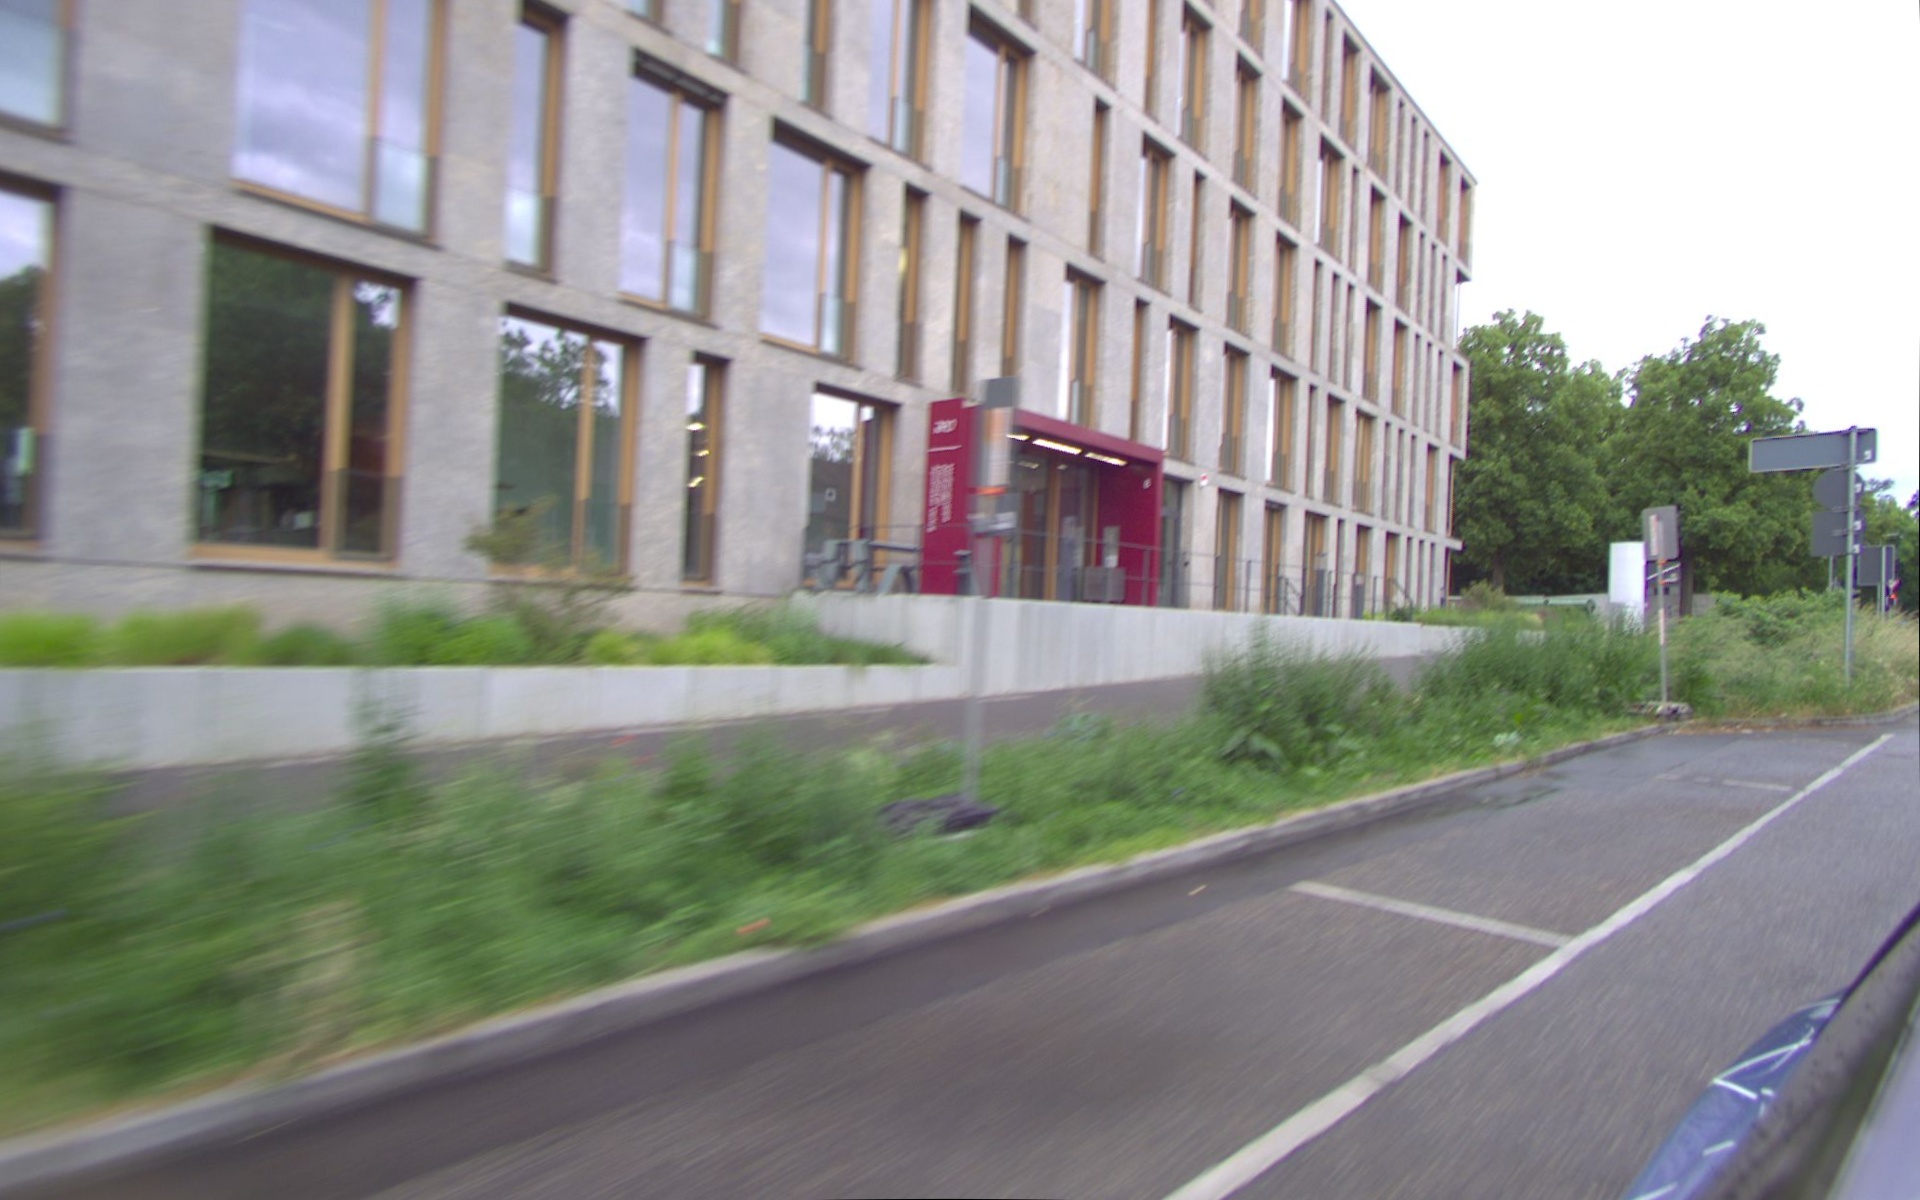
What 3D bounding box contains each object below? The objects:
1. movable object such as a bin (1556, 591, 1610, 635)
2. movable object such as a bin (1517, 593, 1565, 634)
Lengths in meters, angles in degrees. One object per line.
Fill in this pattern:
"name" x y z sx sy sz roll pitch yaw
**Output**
"movable object such as a bin" 21.930 0.448 35.636 1.091 1.477 1.249 -1 -3 -38
"movable object such as a bin" 20.991 0.477 36.554 1.129 1.418 1.100 -1 -3 -39
